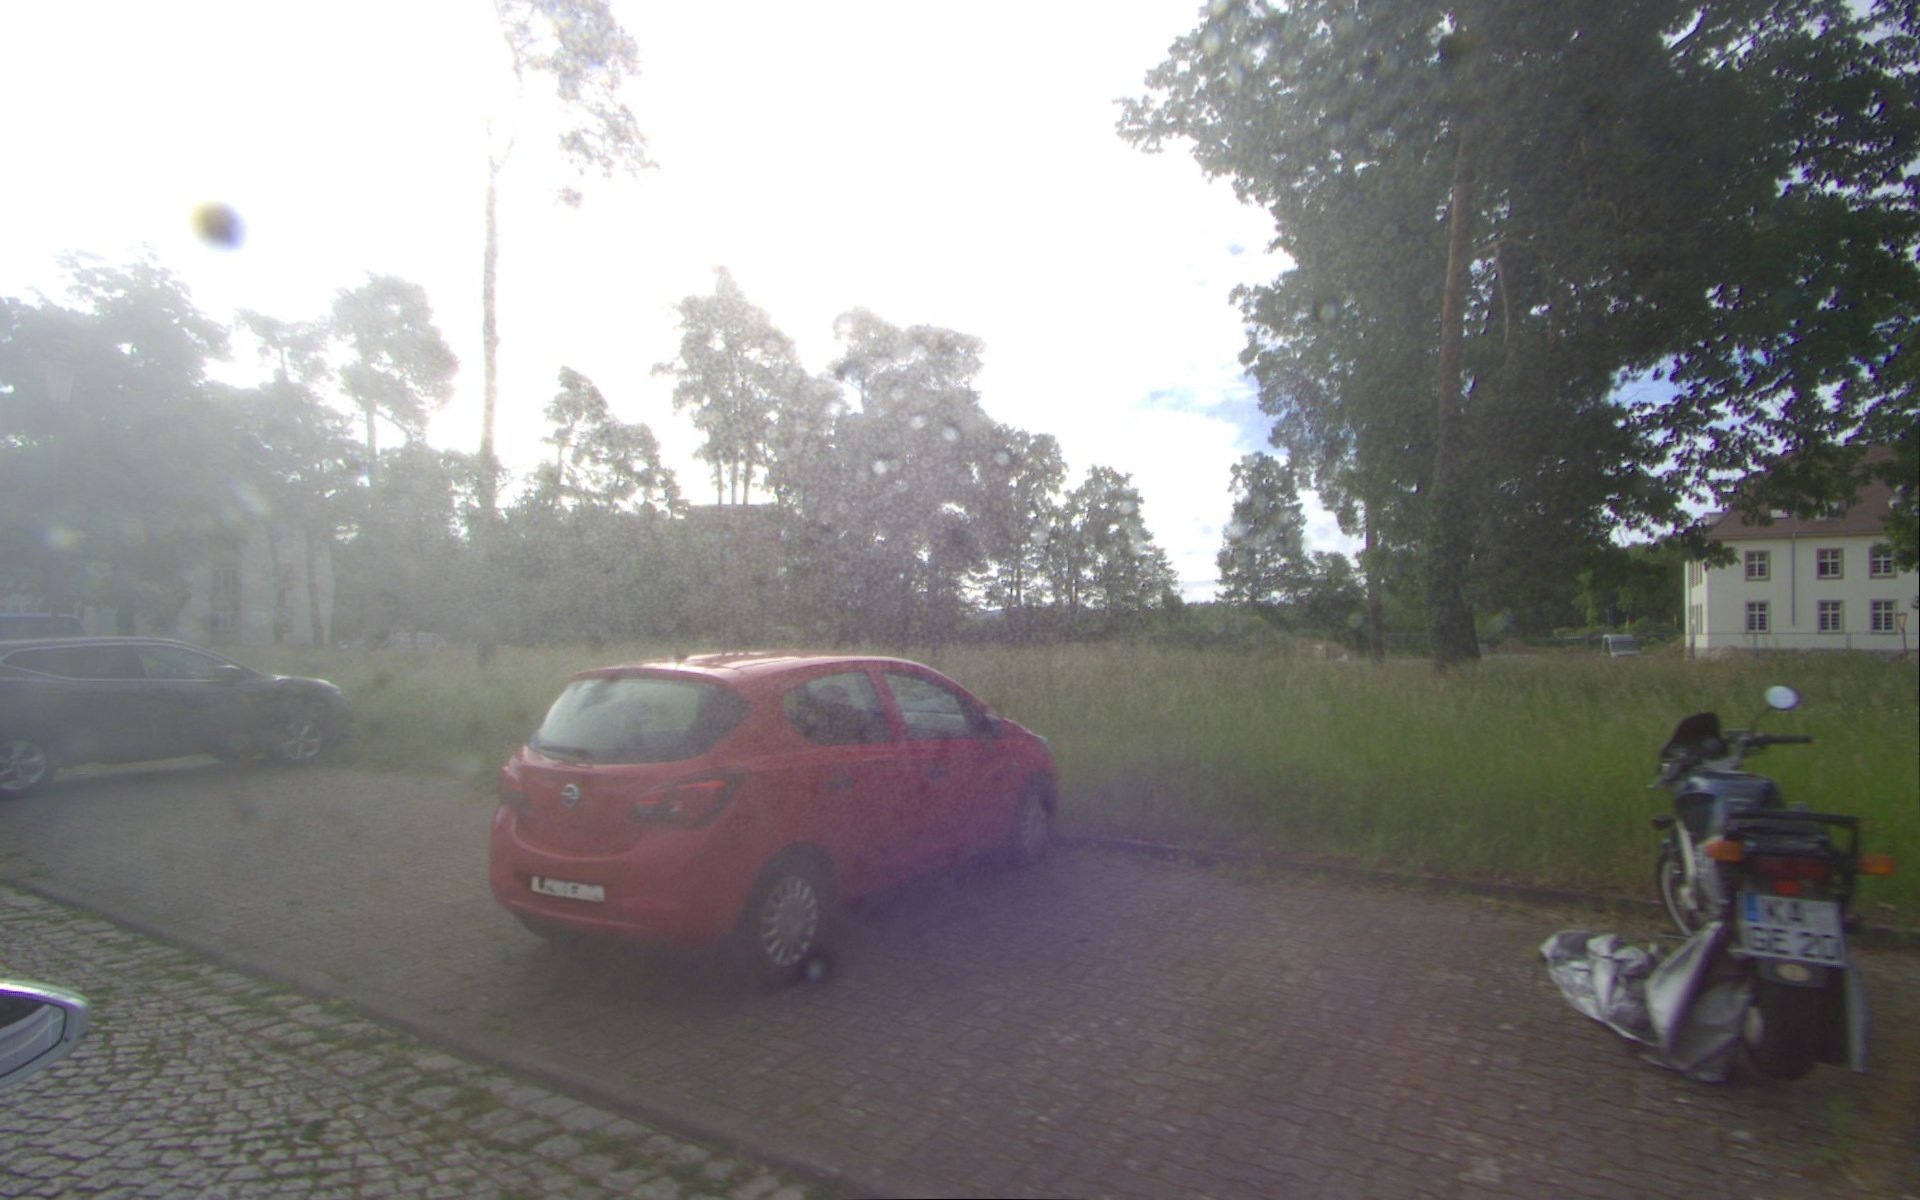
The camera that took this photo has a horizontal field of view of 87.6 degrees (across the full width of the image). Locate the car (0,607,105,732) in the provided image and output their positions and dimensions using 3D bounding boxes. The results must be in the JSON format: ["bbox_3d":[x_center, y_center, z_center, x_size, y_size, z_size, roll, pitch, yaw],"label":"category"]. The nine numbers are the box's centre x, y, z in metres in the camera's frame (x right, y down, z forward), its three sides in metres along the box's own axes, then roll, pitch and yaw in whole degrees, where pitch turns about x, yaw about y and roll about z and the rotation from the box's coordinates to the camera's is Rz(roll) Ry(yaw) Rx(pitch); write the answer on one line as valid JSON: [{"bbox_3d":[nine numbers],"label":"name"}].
[{"bbox_3d":[-16.961,1.123,15.903,1.937,2.030,4.791,-1,-1,30],"label":"car"}]

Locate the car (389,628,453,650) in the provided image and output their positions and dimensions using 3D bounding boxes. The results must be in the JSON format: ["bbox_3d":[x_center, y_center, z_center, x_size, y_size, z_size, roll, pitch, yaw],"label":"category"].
[{"bbox_3d":[-54.085,3.909,100.518,2.076,2.044,5.294,-1,-4,32],"label":"car"}]

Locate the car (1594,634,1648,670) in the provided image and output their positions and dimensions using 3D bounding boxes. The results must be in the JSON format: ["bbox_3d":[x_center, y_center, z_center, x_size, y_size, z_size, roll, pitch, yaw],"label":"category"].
[{"bbox_3d":[51.943,4.134,78.810,2.238,2.673,5.676,0,-4,19],"label":"car"}]

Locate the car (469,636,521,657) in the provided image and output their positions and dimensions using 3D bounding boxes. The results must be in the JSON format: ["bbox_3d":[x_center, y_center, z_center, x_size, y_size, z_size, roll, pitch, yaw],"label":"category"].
[{"bbox_3d":[-44.514,4.463,95.893,1.874,1.826,4.127,-1,-4,33],"label":"car"}]

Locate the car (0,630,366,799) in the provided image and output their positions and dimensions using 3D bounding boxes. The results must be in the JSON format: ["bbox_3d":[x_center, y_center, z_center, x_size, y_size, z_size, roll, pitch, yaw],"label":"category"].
[{"bbox_3d":[-9.425,1.159,11.411,1.924,1.615,4.199,-1,-1,29],"label":"car"}]

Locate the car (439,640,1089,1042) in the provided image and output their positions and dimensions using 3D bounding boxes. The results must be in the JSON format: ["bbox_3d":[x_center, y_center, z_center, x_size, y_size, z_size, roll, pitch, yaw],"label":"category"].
[{"bbox_3d":[-0.781,1.029,6.082,1.758,1.516,3.919,-1,-1,30],"label":"car"}]

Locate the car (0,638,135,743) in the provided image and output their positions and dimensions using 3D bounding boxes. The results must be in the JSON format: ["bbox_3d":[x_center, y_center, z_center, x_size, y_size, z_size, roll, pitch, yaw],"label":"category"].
[{"bbox_3d":[-14.846,1.329,14.551,1.695,1.498,4.095,-1,-1,28],"label":"car"}]

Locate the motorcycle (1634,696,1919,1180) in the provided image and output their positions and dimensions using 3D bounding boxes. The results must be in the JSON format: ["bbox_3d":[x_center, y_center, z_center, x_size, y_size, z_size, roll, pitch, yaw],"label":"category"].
[{"bbox_3d":[3.101,1.072,3.941,0.559,1.217,2.228,0,-1,29],"label":"motorcycle"}]
